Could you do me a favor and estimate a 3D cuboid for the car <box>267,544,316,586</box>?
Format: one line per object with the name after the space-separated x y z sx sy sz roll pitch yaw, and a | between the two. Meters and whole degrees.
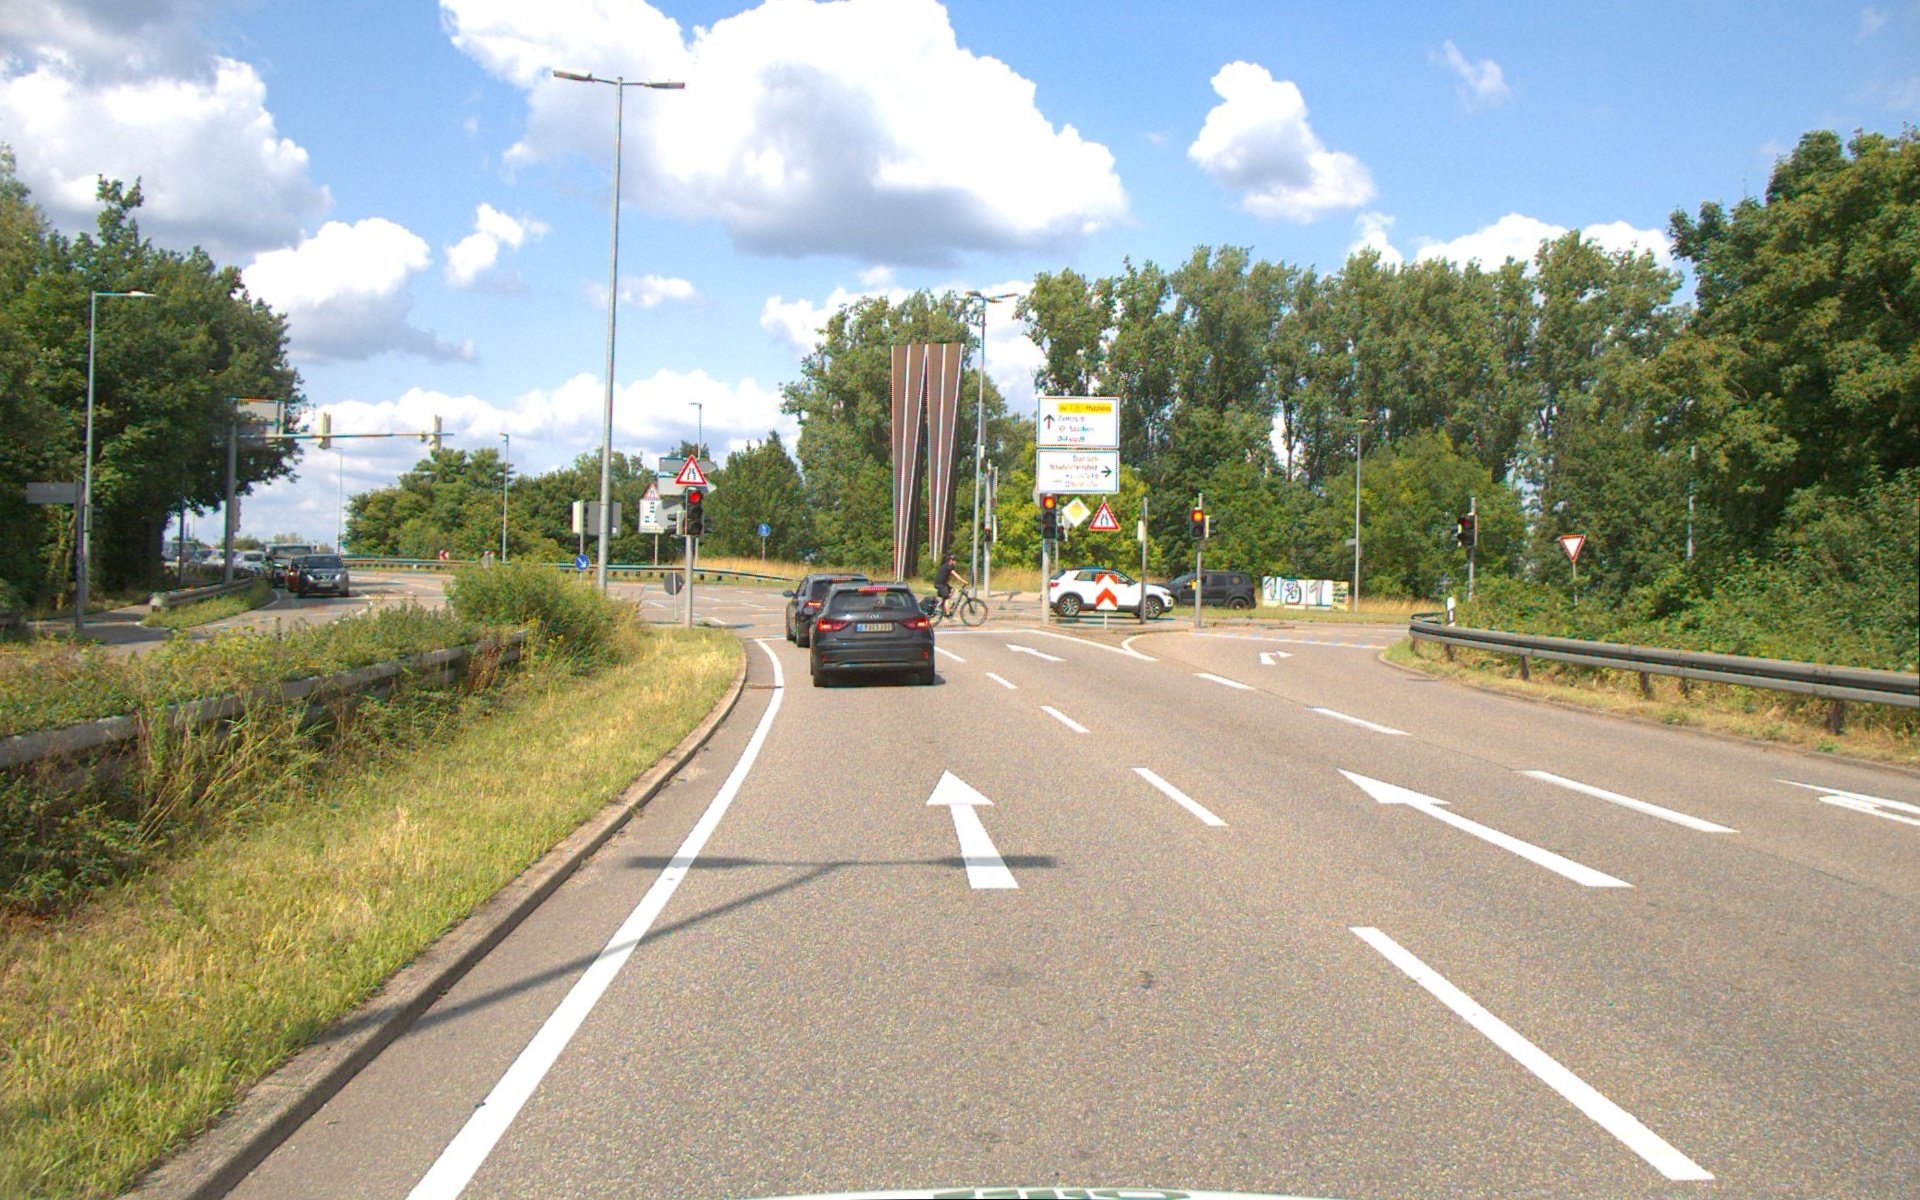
-30.828 -1.616 76.247 1.820 1.833 4.291 0 1 -26 | car

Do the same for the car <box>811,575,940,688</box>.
-1.294 0.387 24.090 1.692 1.428 3.996 -1 1 -5 | car

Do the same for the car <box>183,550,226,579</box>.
-46.213 -2.168 101.137 1.826 1.735 4.278 0 1 -33 | car

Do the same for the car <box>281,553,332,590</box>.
-27.798 -1.220 70.307 1.710 1.502 4.013 0 1 -26 | car

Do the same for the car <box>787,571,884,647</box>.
-2.662 0.144 34.764 1.694 1.448 3.836 -1 1 -9 | car

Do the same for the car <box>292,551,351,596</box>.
-24.353 -0.994 63.024 1.816 1.646 3.967 0 0 -26 | car

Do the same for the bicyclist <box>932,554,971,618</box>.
-0.218 -0.352 41.432 0.821 1.587 0.669 1 0 -17 | bicyclist

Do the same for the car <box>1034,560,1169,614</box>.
4.403 -0.407 51.875 3.954 1.502 1.736 3 0 -4 | car

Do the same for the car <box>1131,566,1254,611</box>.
8.475 -0.434 60.447 4.186 1.572 1.735 1 1 -7 | car

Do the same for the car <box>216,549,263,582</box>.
-39.072 -1.884 89.593 1.824 1.735 4.282 0 1 -31 | car

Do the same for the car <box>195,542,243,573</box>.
-42.926 -2.453 95.779 1.827 1.735 4.276 0 1 -34 | car

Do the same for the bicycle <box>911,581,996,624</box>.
-0.160 0.057 41.445 2.020 1.041 0.669 1 0 -17 | bicycle
